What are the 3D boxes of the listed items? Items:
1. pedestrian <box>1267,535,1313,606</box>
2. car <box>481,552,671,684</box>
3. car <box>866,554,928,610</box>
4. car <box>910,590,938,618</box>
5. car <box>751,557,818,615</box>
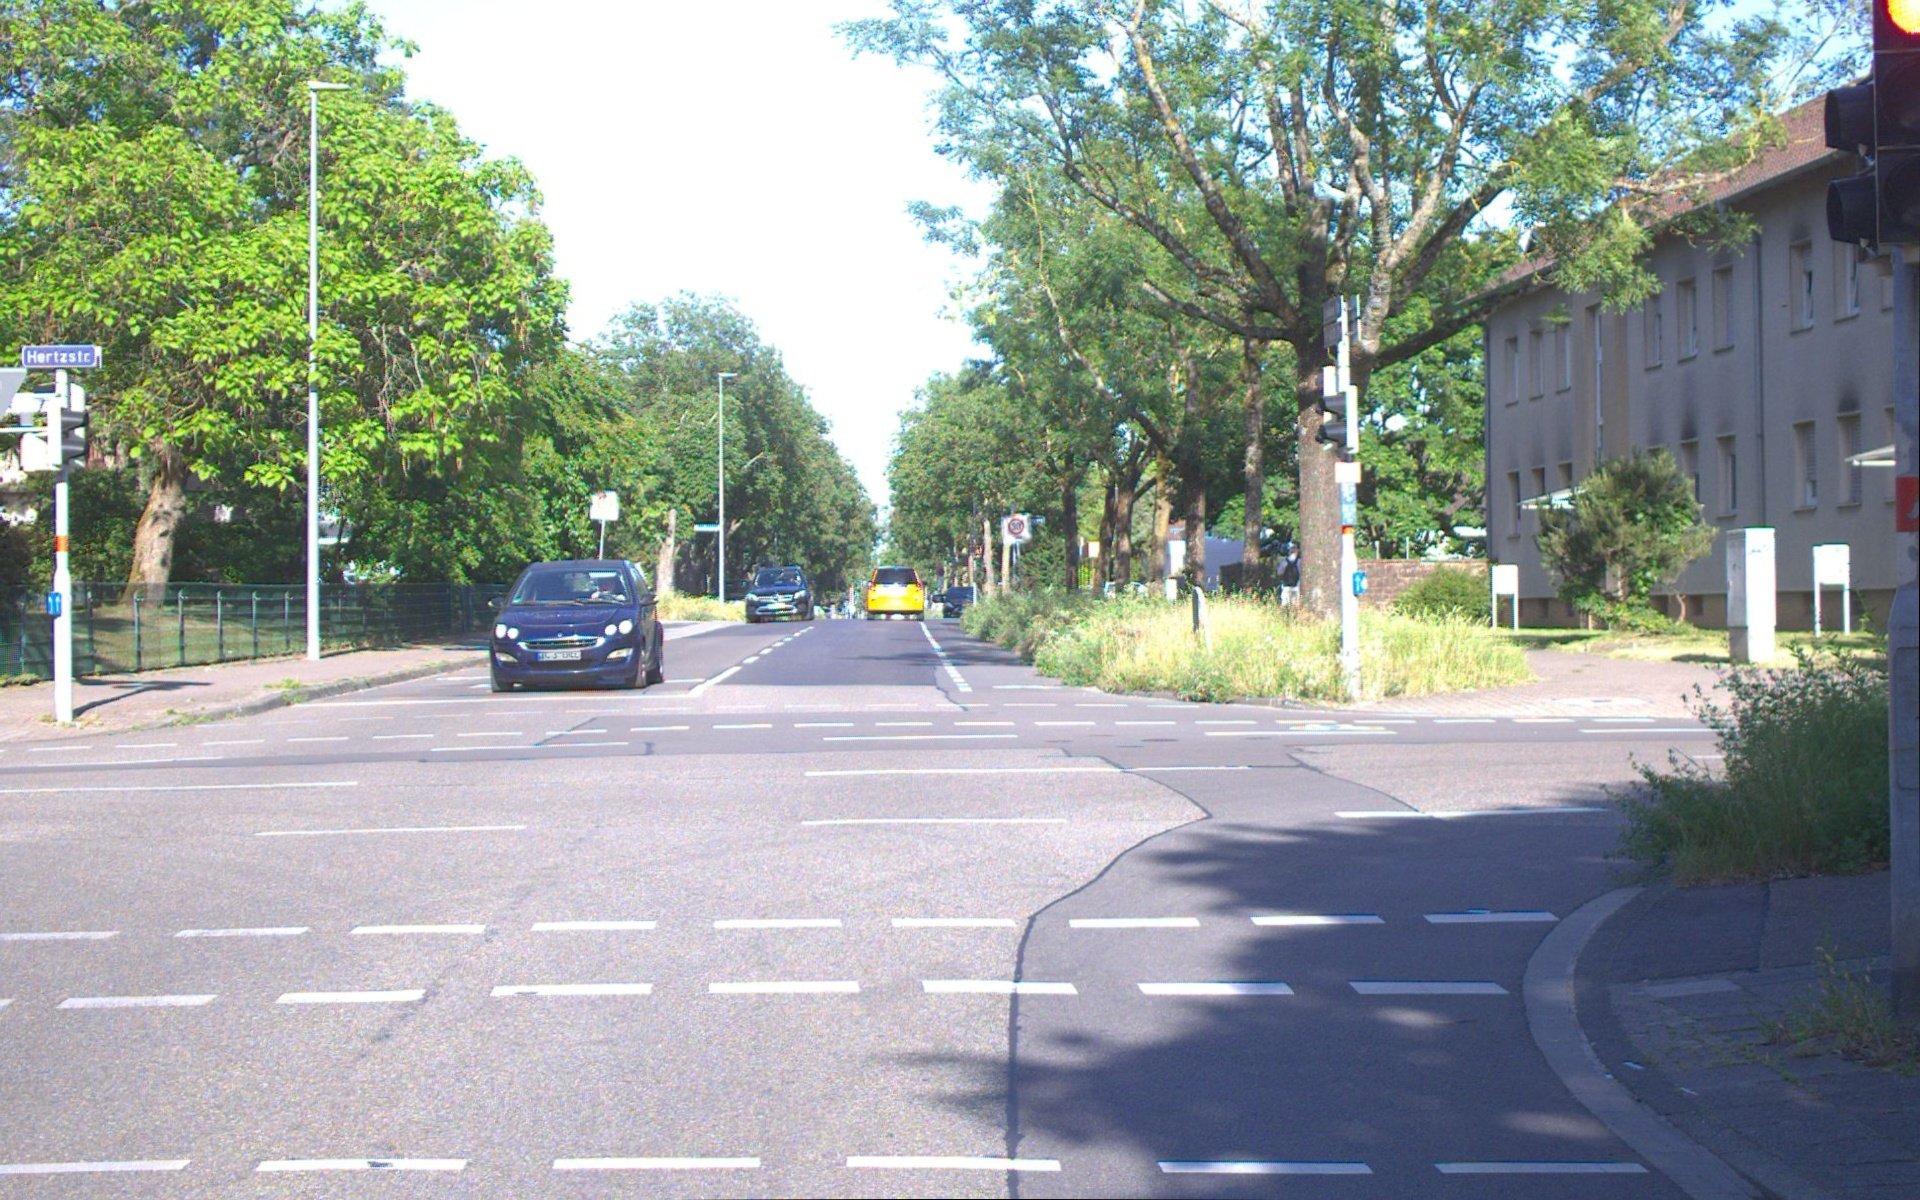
[{"bbox_3d":[7.044,-0.631,73.347,0.842,1.488,0.924,2,1,-1],"label":"pedestrian"},{"bbox_3d":[-4.264,0.173,38.629,1.711,1.381,3.471,0,1,0],"label":"car"},{"bbox_3d":[-1.829,-0.541,101.165,1.751,1.577,4.000,1,0,0],"label":"car"},{"bbox_3d":[-2.300,0.245,219.253,1.773,1.748,4.000,1,0,0],"label":"car"},{"bbox_3d":[-5.127,-0.429,100.920,1.758,1.619,3.268,0,1,0],"label":"car"}]
